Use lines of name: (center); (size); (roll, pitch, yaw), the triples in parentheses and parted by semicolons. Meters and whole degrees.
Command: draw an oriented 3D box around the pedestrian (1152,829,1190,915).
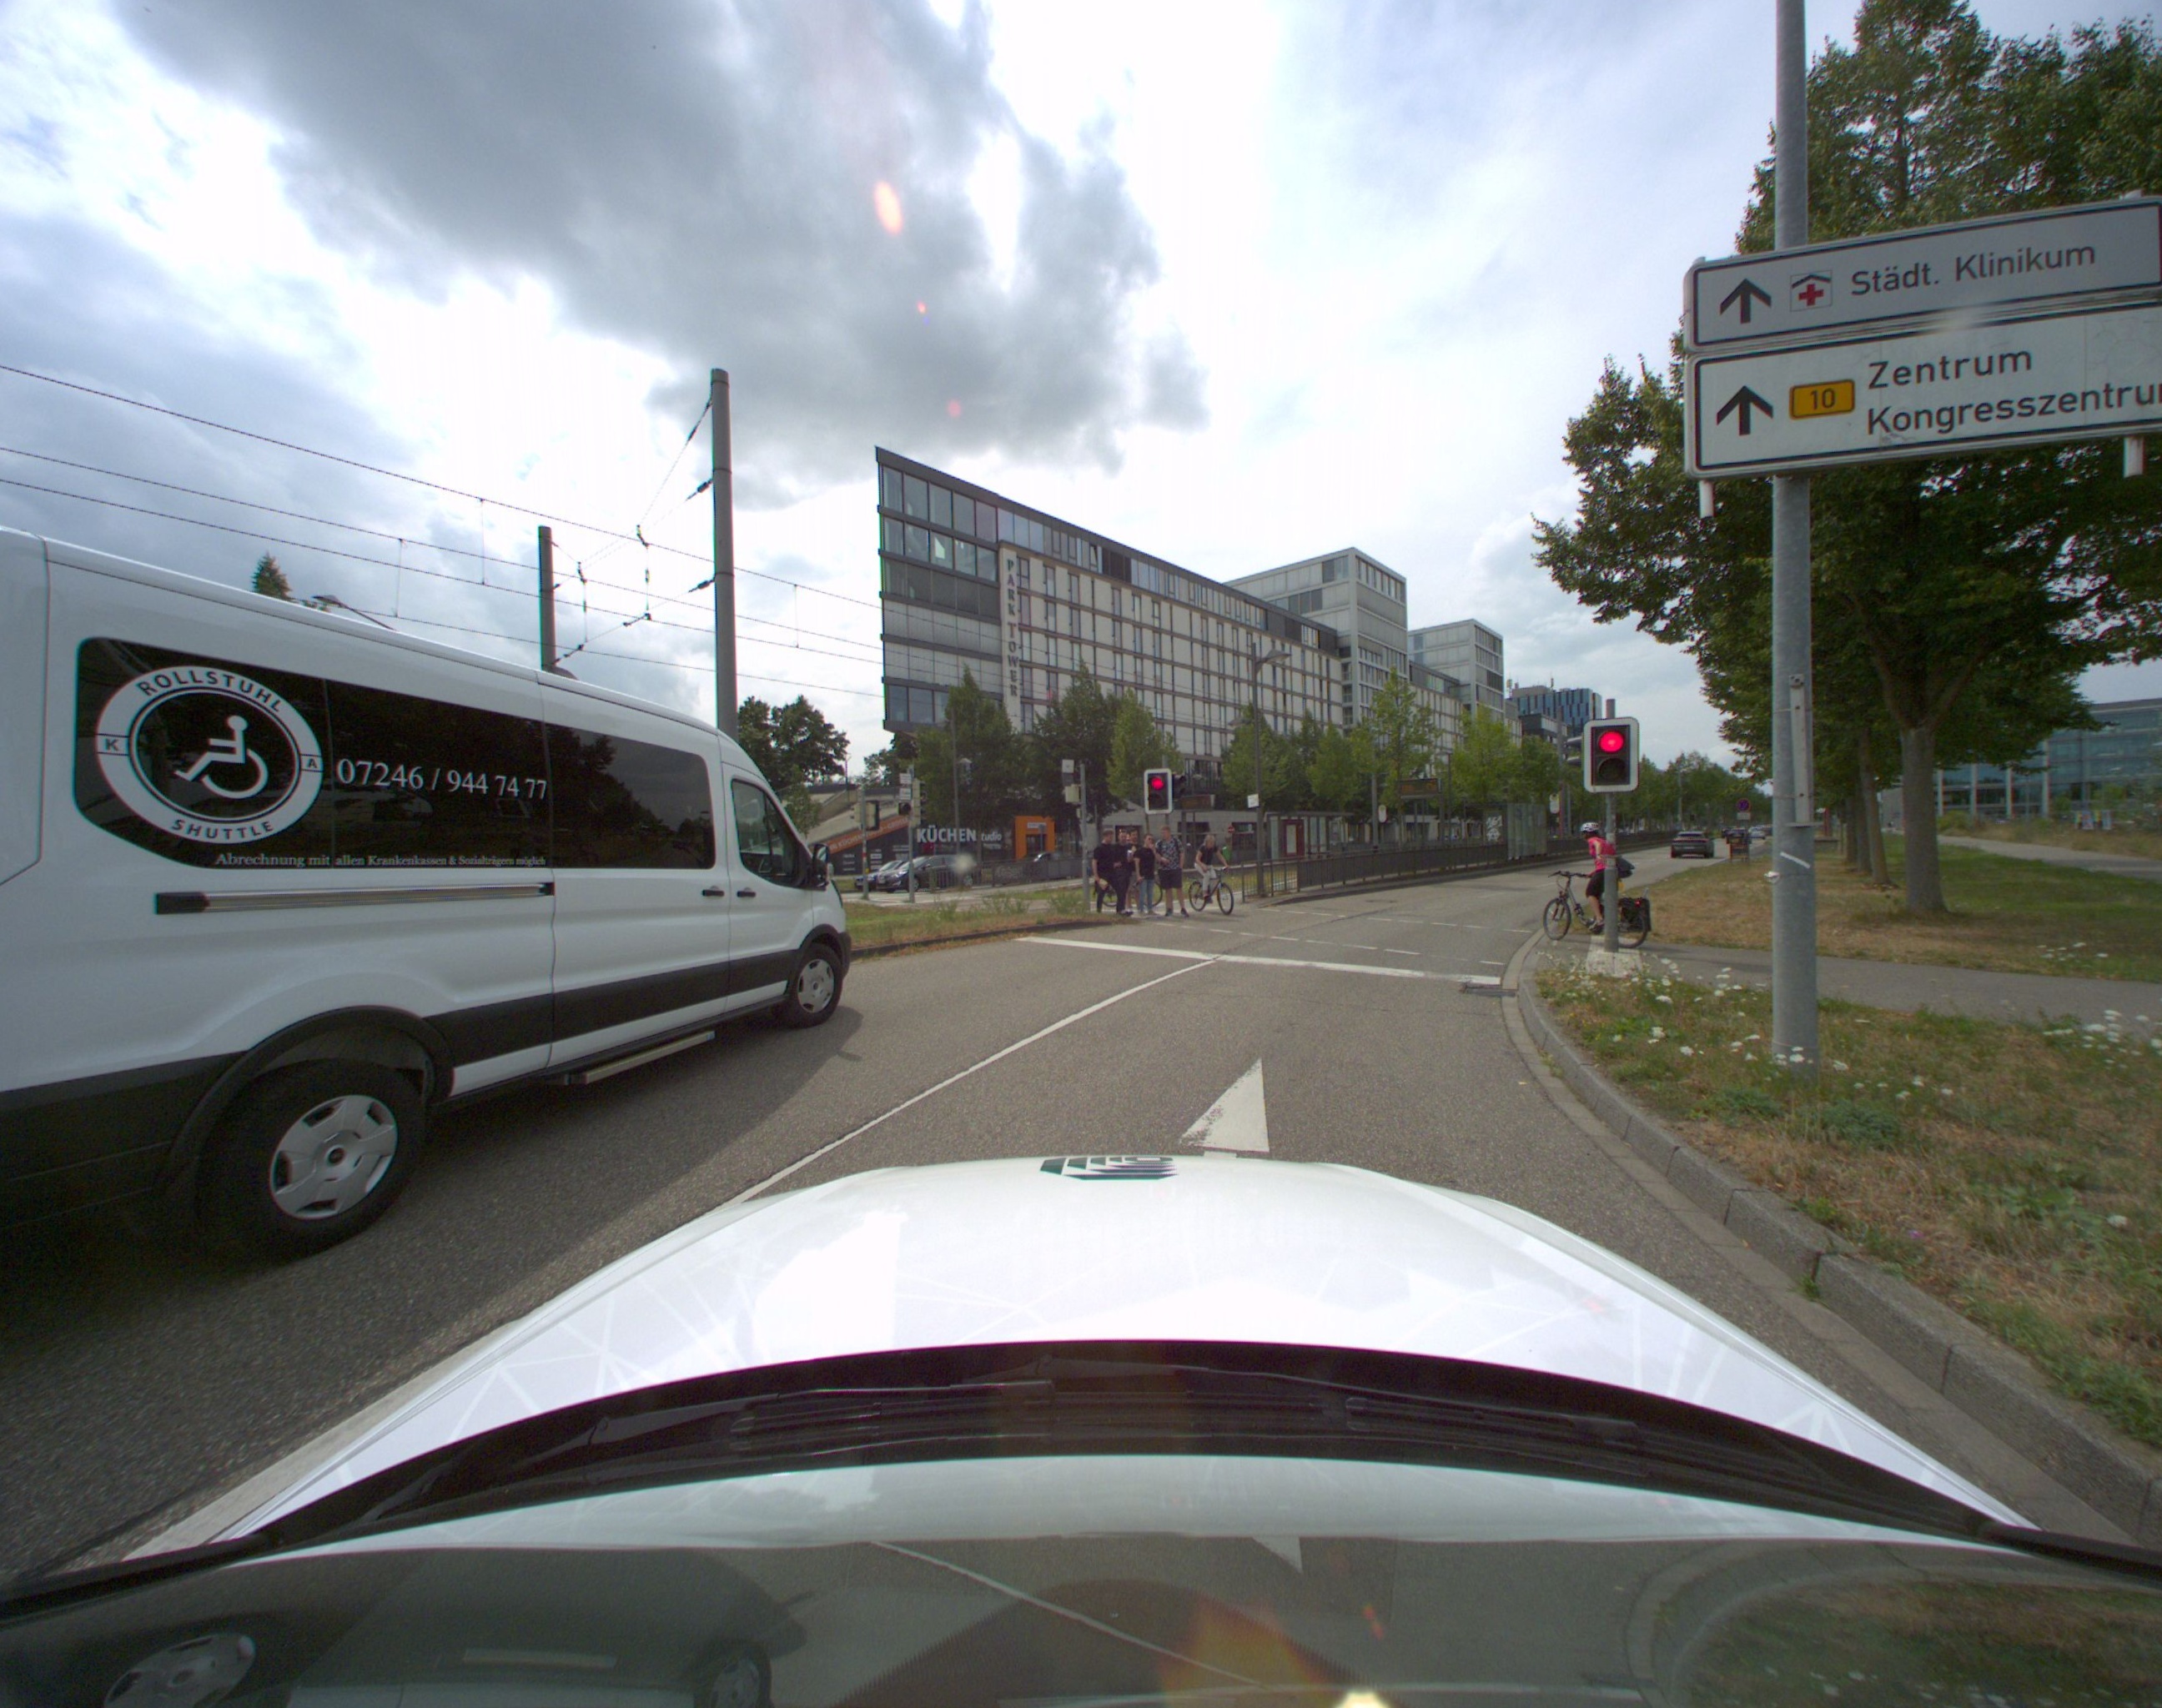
pedestrian: (1.896, 0.361, 17.190); (0.546, 1.781, 0.584); (-1, 0, 37)

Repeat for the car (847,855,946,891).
car: (-8.305, 0.829, 36.921); (1.825, 1.458, 4.024); (0, 1, 44)

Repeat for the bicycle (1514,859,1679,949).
bicycle: (7.628, 0.690, 12.179); (0.791, 1.168, 2.029); (-2, 1, -18)

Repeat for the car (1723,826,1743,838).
car: (84.948, -2.873, 106.071); (1.711, 1.534, 4.399); (-1, 1, 42)

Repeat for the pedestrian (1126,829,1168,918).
pedestrian: (1.359, 0.392, 16.753); (0.546, 1.781, 0.695); (-1, 0, 37)

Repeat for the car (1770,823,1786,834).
car: (98.904, -3.608, 115.557); (1.779, 1.497, 4.143); (-1, 1, 41)

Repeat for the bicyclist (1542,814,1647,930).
bicyclist: (7.629, 0.243, 12.140); (0.791, 1.627, 1.042); (-2, 1, -18)

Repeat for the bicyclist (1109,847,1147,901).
bicyclist: (1.162, 0.488, 20.179); (0.666, 1.317, 0.644); (-1, 0, 37)

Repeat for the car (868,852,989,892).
car: (-6.300, 0.716, 34.044); (1.825, 1.458, 4.766); (0, 1, 44)

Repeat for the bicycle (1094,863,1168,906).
bicycle: (1.221, 0.723, 20.144); (1.734, 1.007, 0.658); (-1, 1, 37)

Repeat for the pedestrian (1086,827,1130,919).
pedestrian: (0.543, 0.372, 16.196); (0.546, 1.781, 0.695); (-1, 0, 37)

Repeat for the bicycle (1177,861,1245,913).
bicycle: (2.842, 0.692, 17.958); (0.550, 1.058, 1.697); (-1, 1, -29)

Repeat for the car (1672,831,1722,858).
car: (36.756, -0.588, 48.531); (2.038, 1.551, 4.503); (-1, 1, 42)

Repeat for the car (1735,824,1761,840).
car: (63.871, -2.121, 78.006); (1.719, 1.519, 4.172); (-1, 1, 42)

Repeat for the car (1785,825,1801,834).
car: (133.629, -4.519, 152.871); (1.975, 1.618, 4.780); (-1, 1, 45)

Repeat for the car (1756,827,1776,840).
car: (80.906, -2.388, 96.165); (1.807, 1.462, 4.287); (-1, 1, 40)

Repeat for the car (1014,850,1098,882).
car: (-1.189, 0.557, 40.409); (1.826, 1.458, 4.024); (0, 1, 45)

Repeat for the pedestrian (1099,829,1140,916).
pedestrian: (0.806, 0.372, 17.005); (0.546, 1.781, 0.637); (-1, 0, 37)

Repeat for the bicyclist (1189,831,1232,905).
bicyclist: (2.853, 0.301, 17.934); (0.562, 1.580, 0.758); (-1, 0, -29)

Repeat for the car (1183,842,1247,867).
car: (8.113, 0.009, 49.087); (1.826, 1.458, 4.024); (0, 1, 45)

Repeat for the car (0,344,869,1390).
car: (-3.450, 0.011, 4.832); (2.114, 2.697, 5.645); (-1, 0, 8)

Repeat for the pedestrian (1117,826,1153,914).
pedestrian: (1.161, 0.329, 17.547); (0.546, 1.862, 0.534); (-1, 0, 37)
